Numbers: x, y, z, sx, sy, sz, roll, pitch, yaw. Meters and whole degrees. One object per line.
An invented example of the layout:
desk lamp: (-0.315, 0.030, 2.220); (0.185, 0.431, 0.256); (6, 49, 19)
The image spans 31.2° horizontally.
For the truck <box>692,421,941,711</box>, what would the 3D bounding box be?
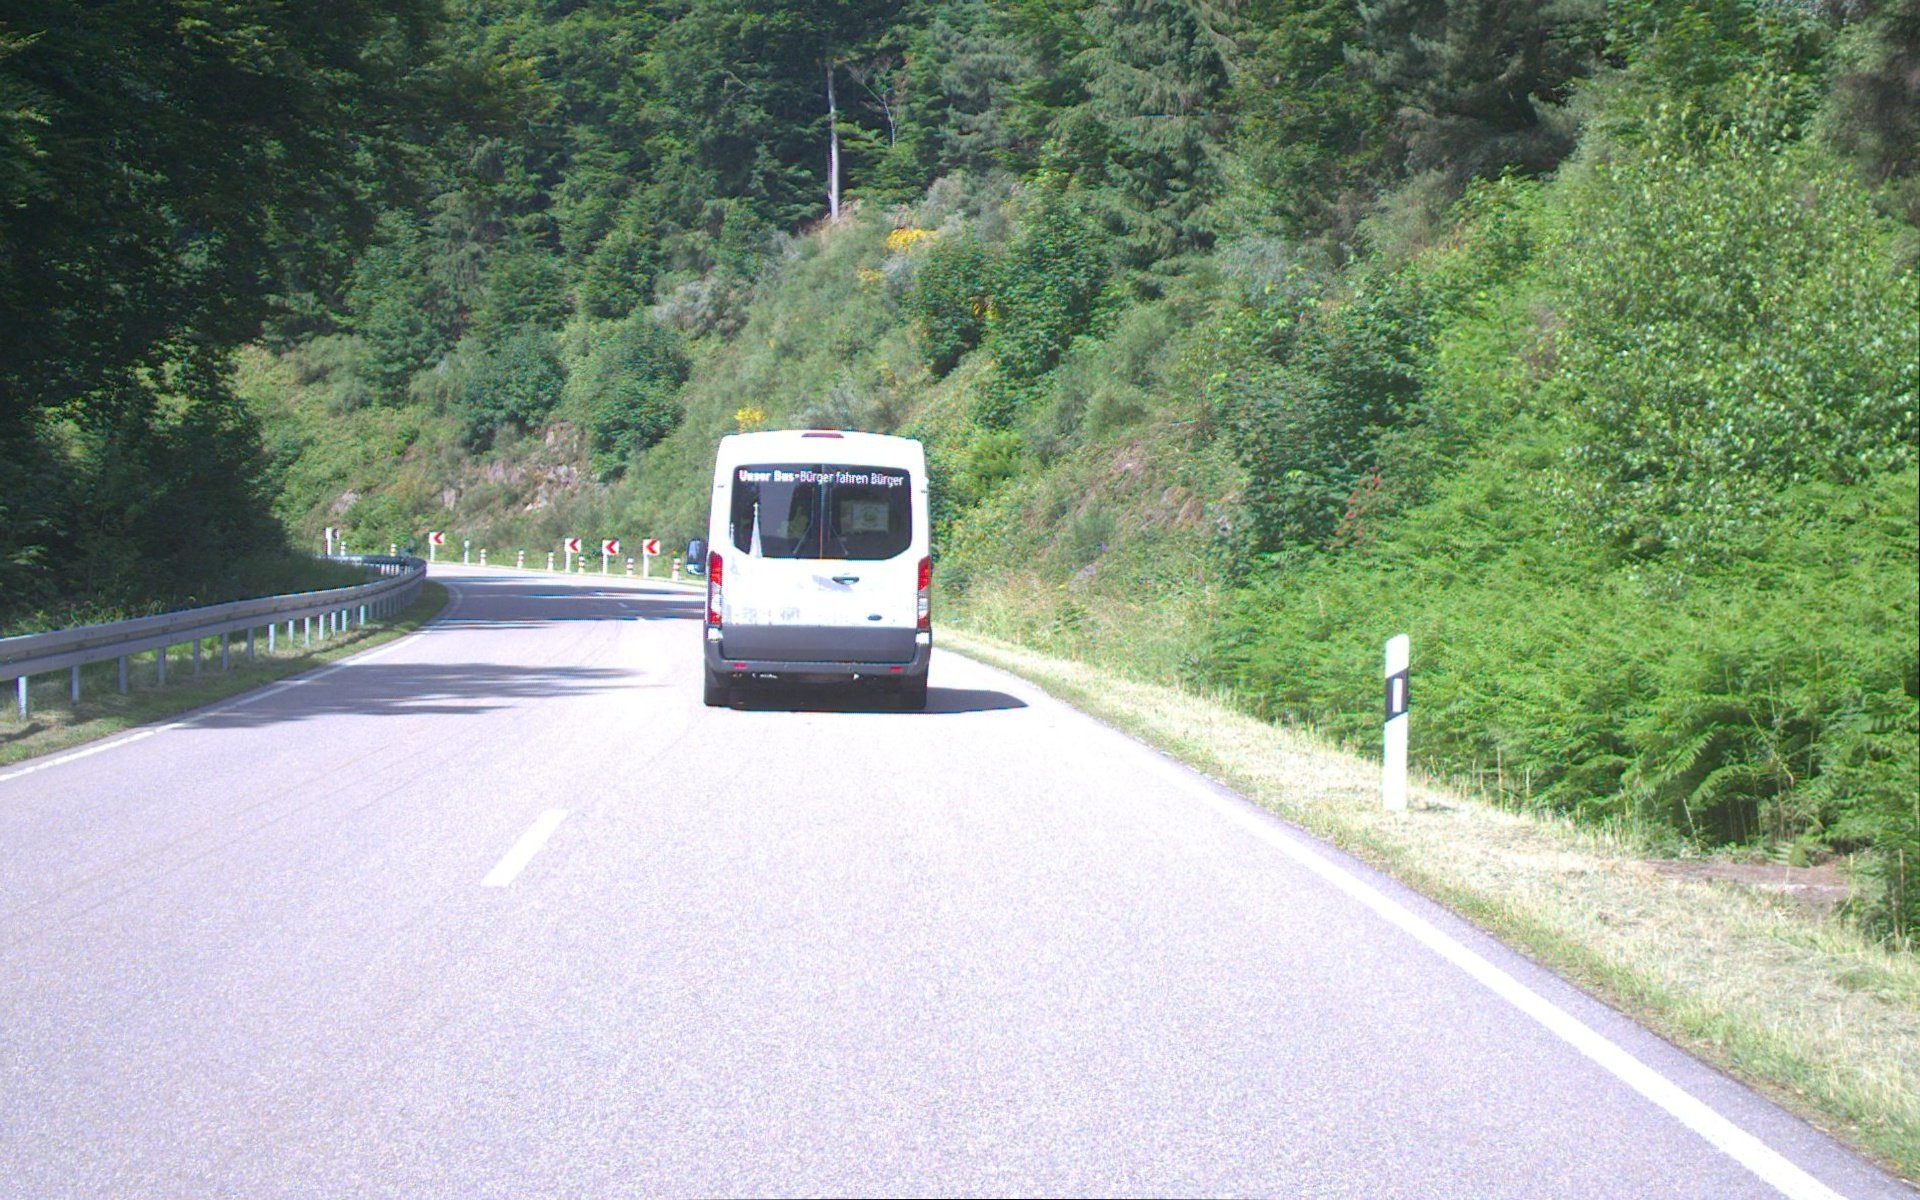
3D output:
truck: (-1.420, -0.332, 32.011); (2.083, 2.451, 4.876); (1, 1, -5)
